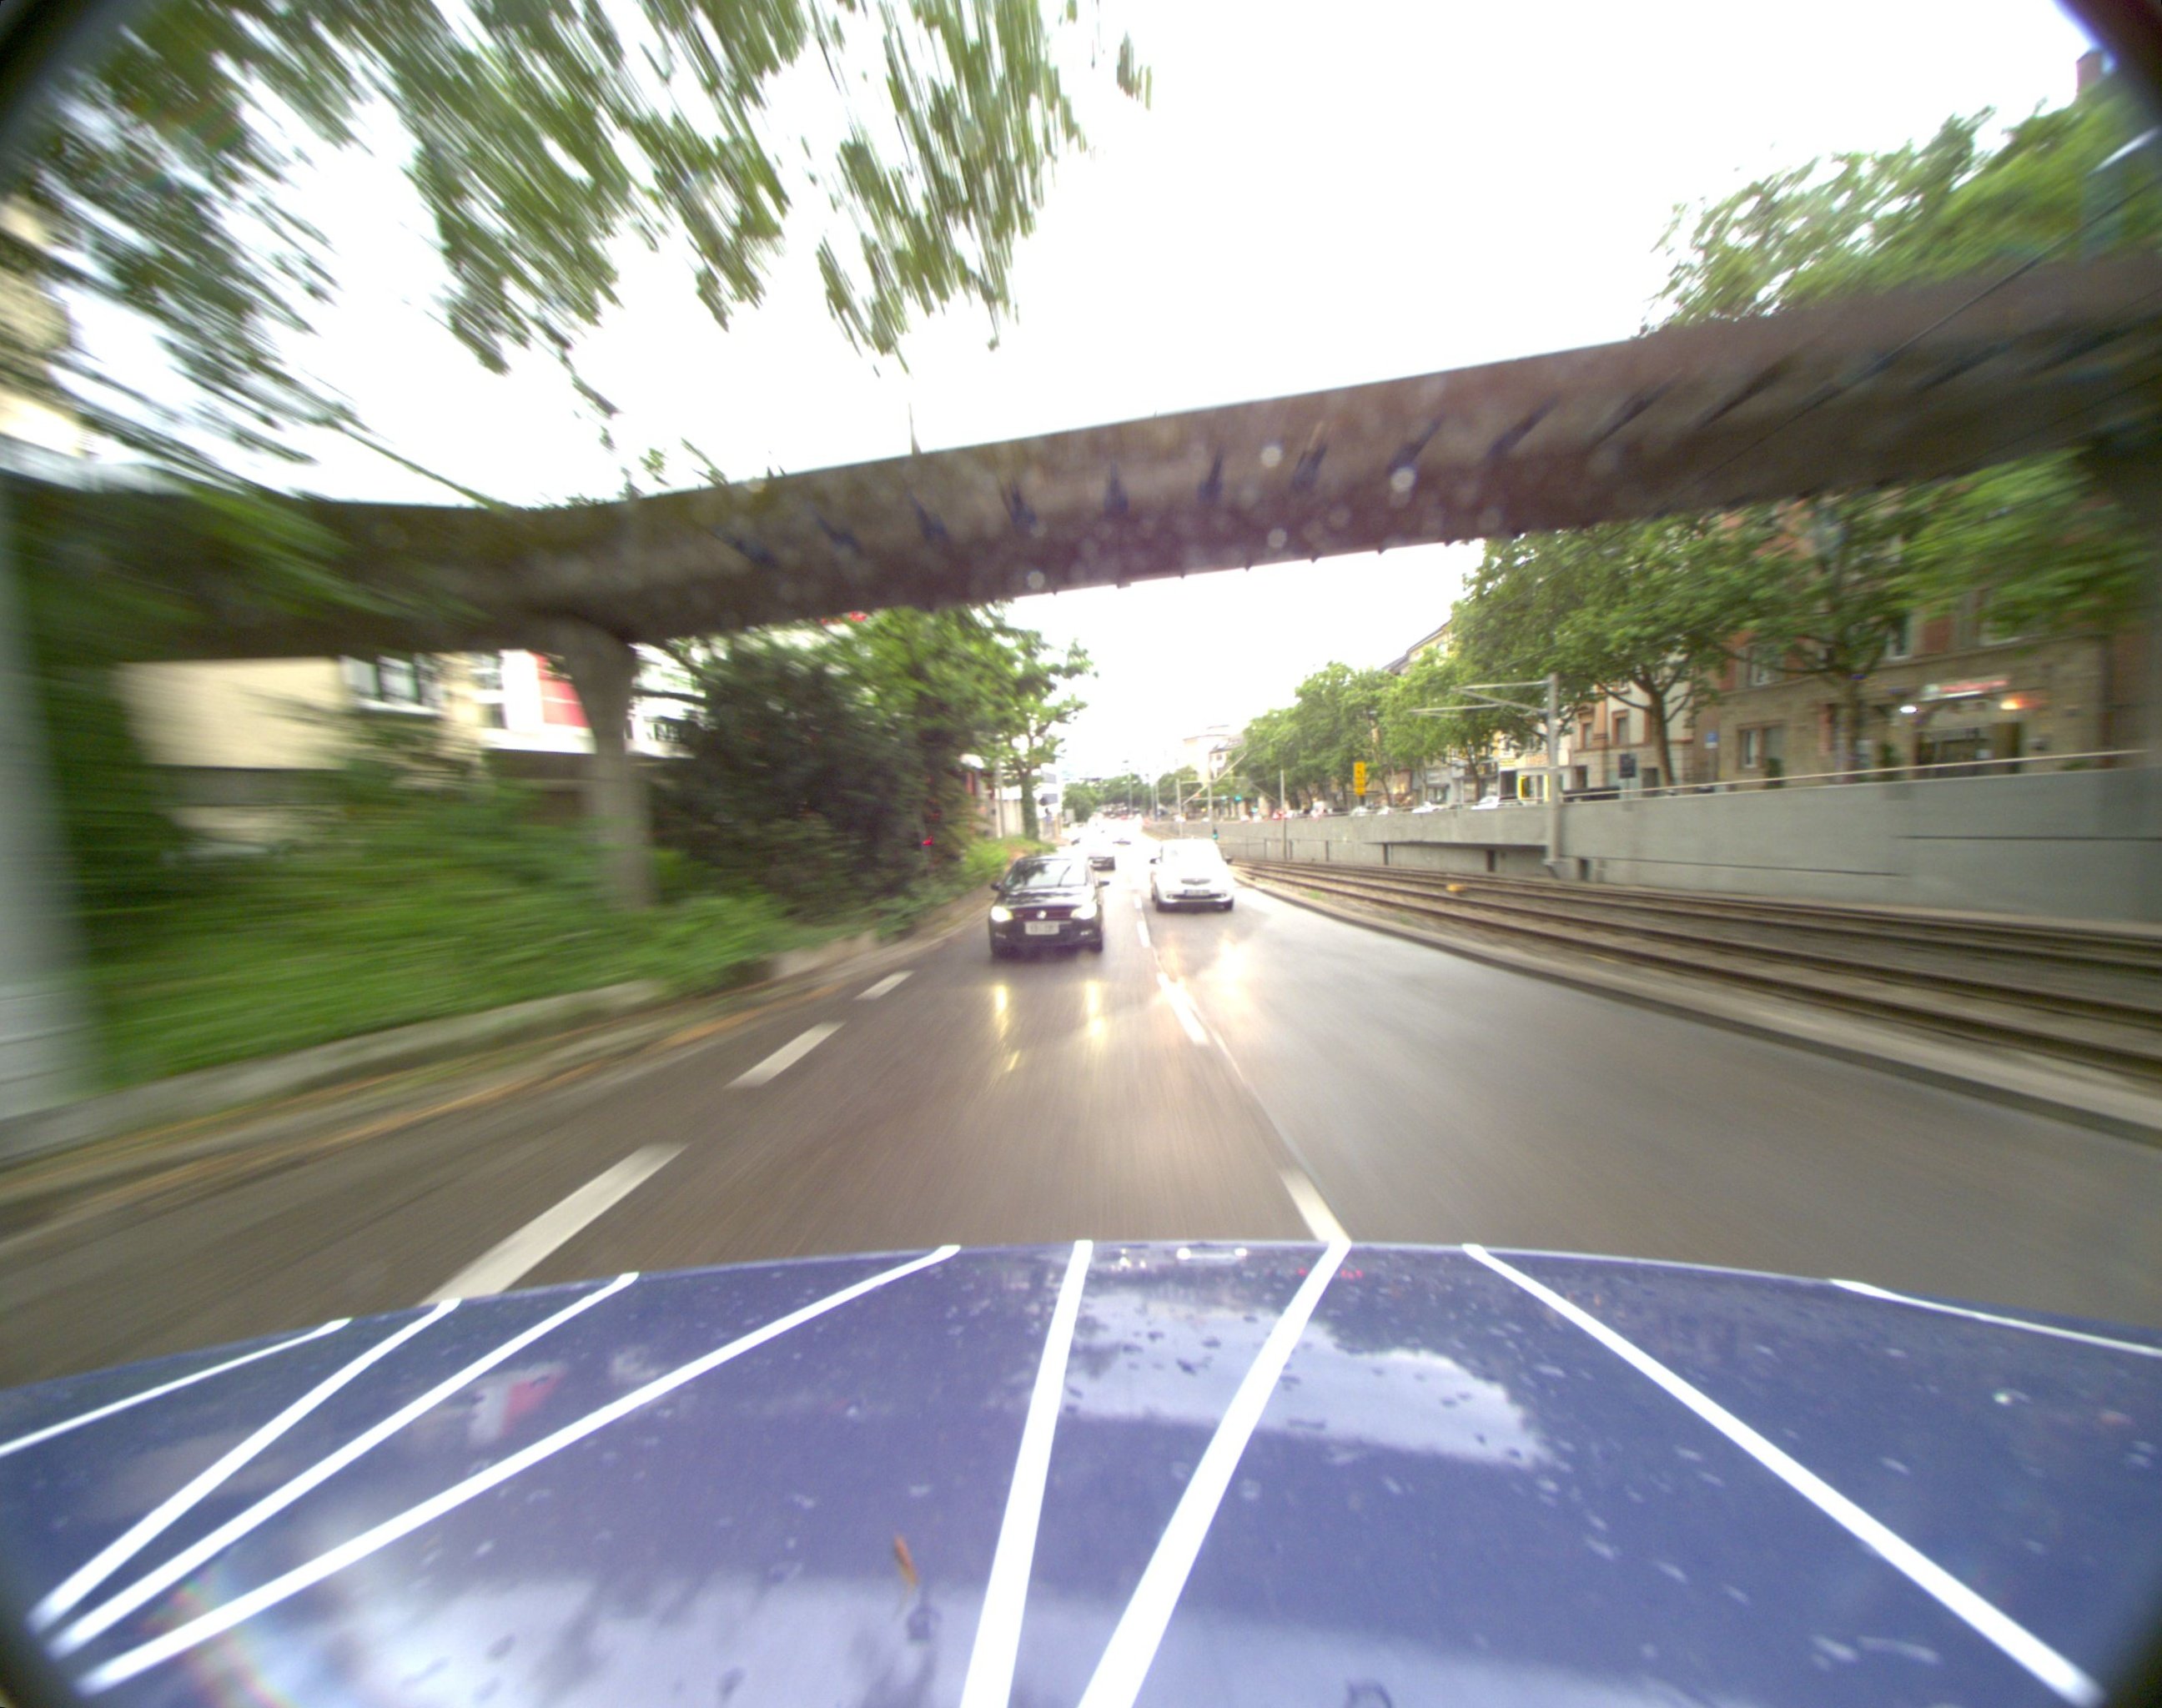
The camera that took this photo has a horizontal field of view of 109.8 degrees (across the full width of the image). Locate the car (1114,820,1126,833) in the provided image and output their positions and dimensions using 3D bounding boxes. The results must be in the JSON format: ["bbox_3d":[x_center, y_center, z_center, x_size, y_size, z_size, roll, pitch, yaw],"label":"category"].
[{"bbox_3d":[6.734,-4.783,132.649,1.799,1.935,3.998,-5,3,1],"label":"car"}]

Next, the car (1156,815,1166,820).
[{"bbox_3d":[23.094,-10.529,219.752,1.799,1.502,4.339,-5,3,-6],"label":"car"}]

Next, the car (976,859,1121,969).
[{"bbox_3d":[-0.355,0.840,12.334,1.677,1.392,3.850,-1,1,7],"label":"car"}]

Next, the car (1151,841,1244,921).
[{"bbox_3d":[2.607,0.529,17.839,1.798,1.529,3.999,-1,3,4],"label":"car"}]

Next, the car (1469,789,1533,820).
[{"bbox_3d":[25.499,-2.979,46.313,1.798,1.602,4.111,-5,2,5],"label":"car"}]

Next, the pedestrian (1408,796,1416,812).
[{"bbox_3d":[35.330,-5.336,81.064,0.524,1.739,0.621,-7,3,13],"label":"pedestrian"}]

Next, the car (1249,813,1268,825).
[{"bbox_3d":[24.547,-4.822,105.318,1.798,1.502,3.999,-5,2,3],"label":"car"}]

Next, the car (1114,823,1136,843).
[{"bbox_3d":[3.891,-1.912,67.720,1.798,1.502,3.998,-5,3,3],"label":"car"}]

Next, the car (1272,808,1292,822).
[{"bbox_3d":[29.233,-5.604,110.440,1.960,1.842,4.968,-5,2,6],"label":"car"}]

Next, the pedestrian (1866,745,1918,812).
[{"bbox_3d":[25.812,-2.382,24.196,0.670,2.003,0.934,-5,4,7],"label":"pedestrian"}]

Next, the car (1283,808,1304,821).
[{"bbox_3d":[32.990,-6.151,118.022,1.881,1.755,4.899,-5,2,1],"label":"car"}]

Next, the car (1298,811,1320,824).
[{"bbox_3d":[32.343,-5.174,107.960,1.881,1.755,4.900,-5,2,5],"label":"car"}]

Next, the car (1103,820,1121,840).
[{"bbox_3d":[3.530,-2.733,84.996,1.798,2.022,3.998,-5,3,3],"label":"car"}]

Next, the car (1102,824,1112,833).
[{"bbox_3d":[5.497,-5.338,159.346,1.799,1.502,3.997,-5,3,0],"label":"car"}]

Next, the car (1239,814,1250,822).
[{"bbox_3d":[36.251,-8.013,168.337,1.850,1.502,4.017,-5,2,8],"label":"car"}]

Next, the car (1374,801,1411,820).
[{"bbox_3d":[27.873,-3.898,68.135,1.798,1.502,4.207,-5,2,6],"label":"car"}]

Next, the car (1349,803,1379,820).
[{"bbox_3d":[29.241,-4.406,78.620,1.798,1.562,4.207,-5,2,6],"label":"car"}]

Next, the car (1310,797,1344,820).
[{"bbox_3d":[30.986,-5.701,96.072,2.458,2.648,6.931,-5,2,5],"label":"car"}]

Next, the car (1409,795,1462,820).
[{"bbox_3d":[26.705,-3.460,57.431,1.931,1.592,5.199,-5,2,5],"label":"car"}]

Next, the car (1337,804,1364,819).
[{"bbox_3d":[31.072,-4.859,87.771,1.798,1.502,4.671,-5,2,5],"label":"car"}]

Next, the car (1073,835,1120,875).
[{"bbox_3d":[0.718,-0.019,32.704,1.750,1.433,3.705,-2,3,5],"label":"car"}]

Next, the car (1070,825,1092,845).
[{"bbox_3d":[0.039,-1.824,72.442,1.798,1.657,3.998,-5,3,3],"label":"car"}]

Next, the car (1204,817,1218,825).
[{"bbox_3d":[29.897,-7.642,174.935,2.032,1.502,4.880,-5,2,-2],"label":"car"}]

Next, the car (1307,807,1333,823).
[{"bbox_3d":[25.992,-4.194,82.671,1.798,1.502,4.108,-5,2,5],"label":"car"}]
